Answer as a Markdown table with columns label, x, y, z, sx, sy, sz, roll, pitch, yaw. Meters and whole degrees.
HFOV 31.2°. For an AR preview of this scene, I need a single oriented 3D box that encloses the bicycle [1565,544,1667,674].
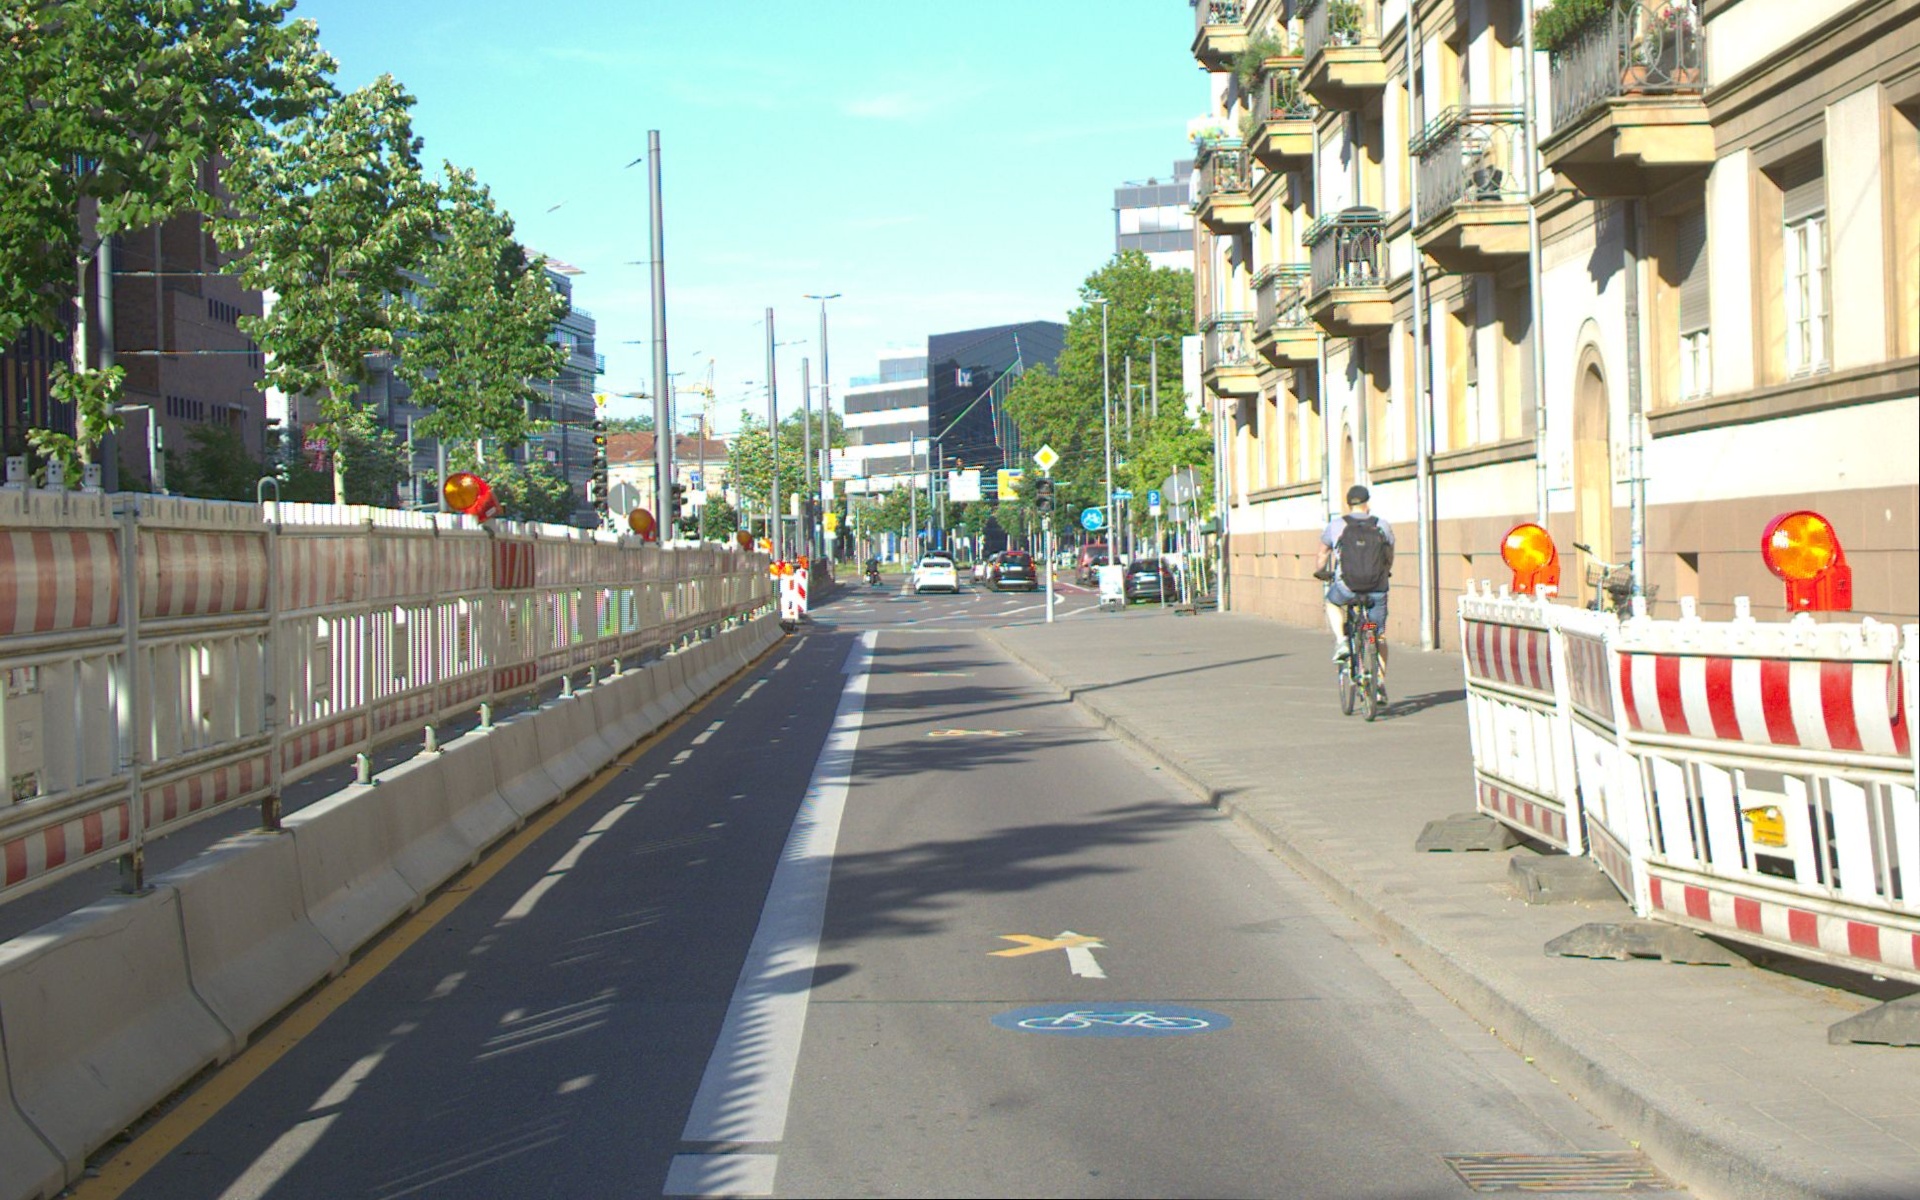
| label | x | y | z | sx | sy | sz | roll | pitch | yaw |
| --- | --- | --- | --- | --- | --- | --- | --- | --- | --- |
| bicycle | 5.716 | 0.061 | 30.025 | 0.418 | 1.092 | 2.198 | -1 | 1 | -1 |

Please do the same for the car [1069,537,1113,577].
| label | x | y | z | sx | sy | sz | roll | pitch | yaw |
| --- | --- | --- | --- | --- | --- | --- | --- | --- | --- |
| car | 6.095 | -2.034 | 160.478 | 1.846 | 1.555 | 4.634 | 1 | 4 | 0 |

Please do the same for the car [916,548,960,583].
| label | x | y | z | sx | sy | sz | roll | pitch | yaw |
| --- | --- | --- | --- | --- | --- | --- | --- | --- | --- |
| car | -0.931 | -1.440 | 142.501 | 1.780 | 1.409 | 4.819 | 1 | 1 | -1 |

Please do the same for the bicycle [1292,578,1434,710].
| label | x | y | z | sx | sy | sz | roll | pitch | yaw |
| --- | --- | --- | --- | --- | --- | --- | --- | --- | --- |
| bicycle | 3.090 | 0.320 | 26.566 | 0.767 | 0.950 | 2.198 | -1 | 1 | -1 |

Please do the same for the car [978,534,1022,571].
| label | x | y | z | sx | sy | sz | roll | pitch | yaw |
| --- | --- | --- | --- | --- | --- | --- | --- | --- | --- |
| car | 1.820 | -2.142 | 156.216 | 1.851 | 1.634 | 4.379 | 0 | 0 | -1 |

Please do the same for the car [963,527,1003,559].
| label | x | y | z | sx | sy | sz | roll | pitch | yaw |
| --- | --- | --- | --- | --- | --- | --- | --- | --- | --- |
| car | 1.150 | -2.875 | 173.260 | 1.851 | 1.492 | 4.379 | -2 | 1 | -1 |

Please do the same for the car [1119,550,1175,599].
| label | x | y | z | sx | sy | sz | roll | pitch | yaw |
| --- | --- | --- | --- | --- | --- | --- | --- | --- | --- |
| car | 6.510 | -0.898 | 119.402 | 1.721 | 1.631 | 4.230 | -2 | 1 | 6 |

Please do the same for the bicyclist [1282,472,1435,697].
| label | x | y | z | sx | sy | sz | roll | pitch | yaw |
| --- | --- | --- | --- | --- | --- | --- | --- | --- | --- |
| bicyclist | 3.050 | -0.126 | 26.393 | 0.992 | 1.660 | 1.013 | -2 | 1 | 0 |

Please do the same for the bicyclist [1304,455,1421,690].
| label | x | y | z | sx | sy | sz | roll | pitch | yaw |
| --- | --- | --- | --- | --- | --- | --- | --- | --- | --- |
| bicyclist | 3.094 | -0.214 | 26.472 | 0.733 | 1.757 | 0.938 | -1 | 1 | -1 |

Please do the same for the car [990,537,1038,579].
| label | x | y | z | sx | sy | sz | roll | pitch | yaw |
| --- | --- | --- | --- | --- | --- | --- | --- | --- | --- |
| car | 2.312 | -1.820 | 148.421 | 1.975 | 1.753 | 4.633 | 1 | 1 | 0 |

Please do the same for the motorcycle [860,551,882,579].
| label | x | y | z | sx | sy | sz | roll | pitch | yaw |
| --- | --- | --- | --- | --- | --- | --- | --- | --- | --- |
| motorcycle | -4.355 | -1.718 | 168.488 | 1.019 | 1.307 | 2.915 | 1 | 1 | 0 |
